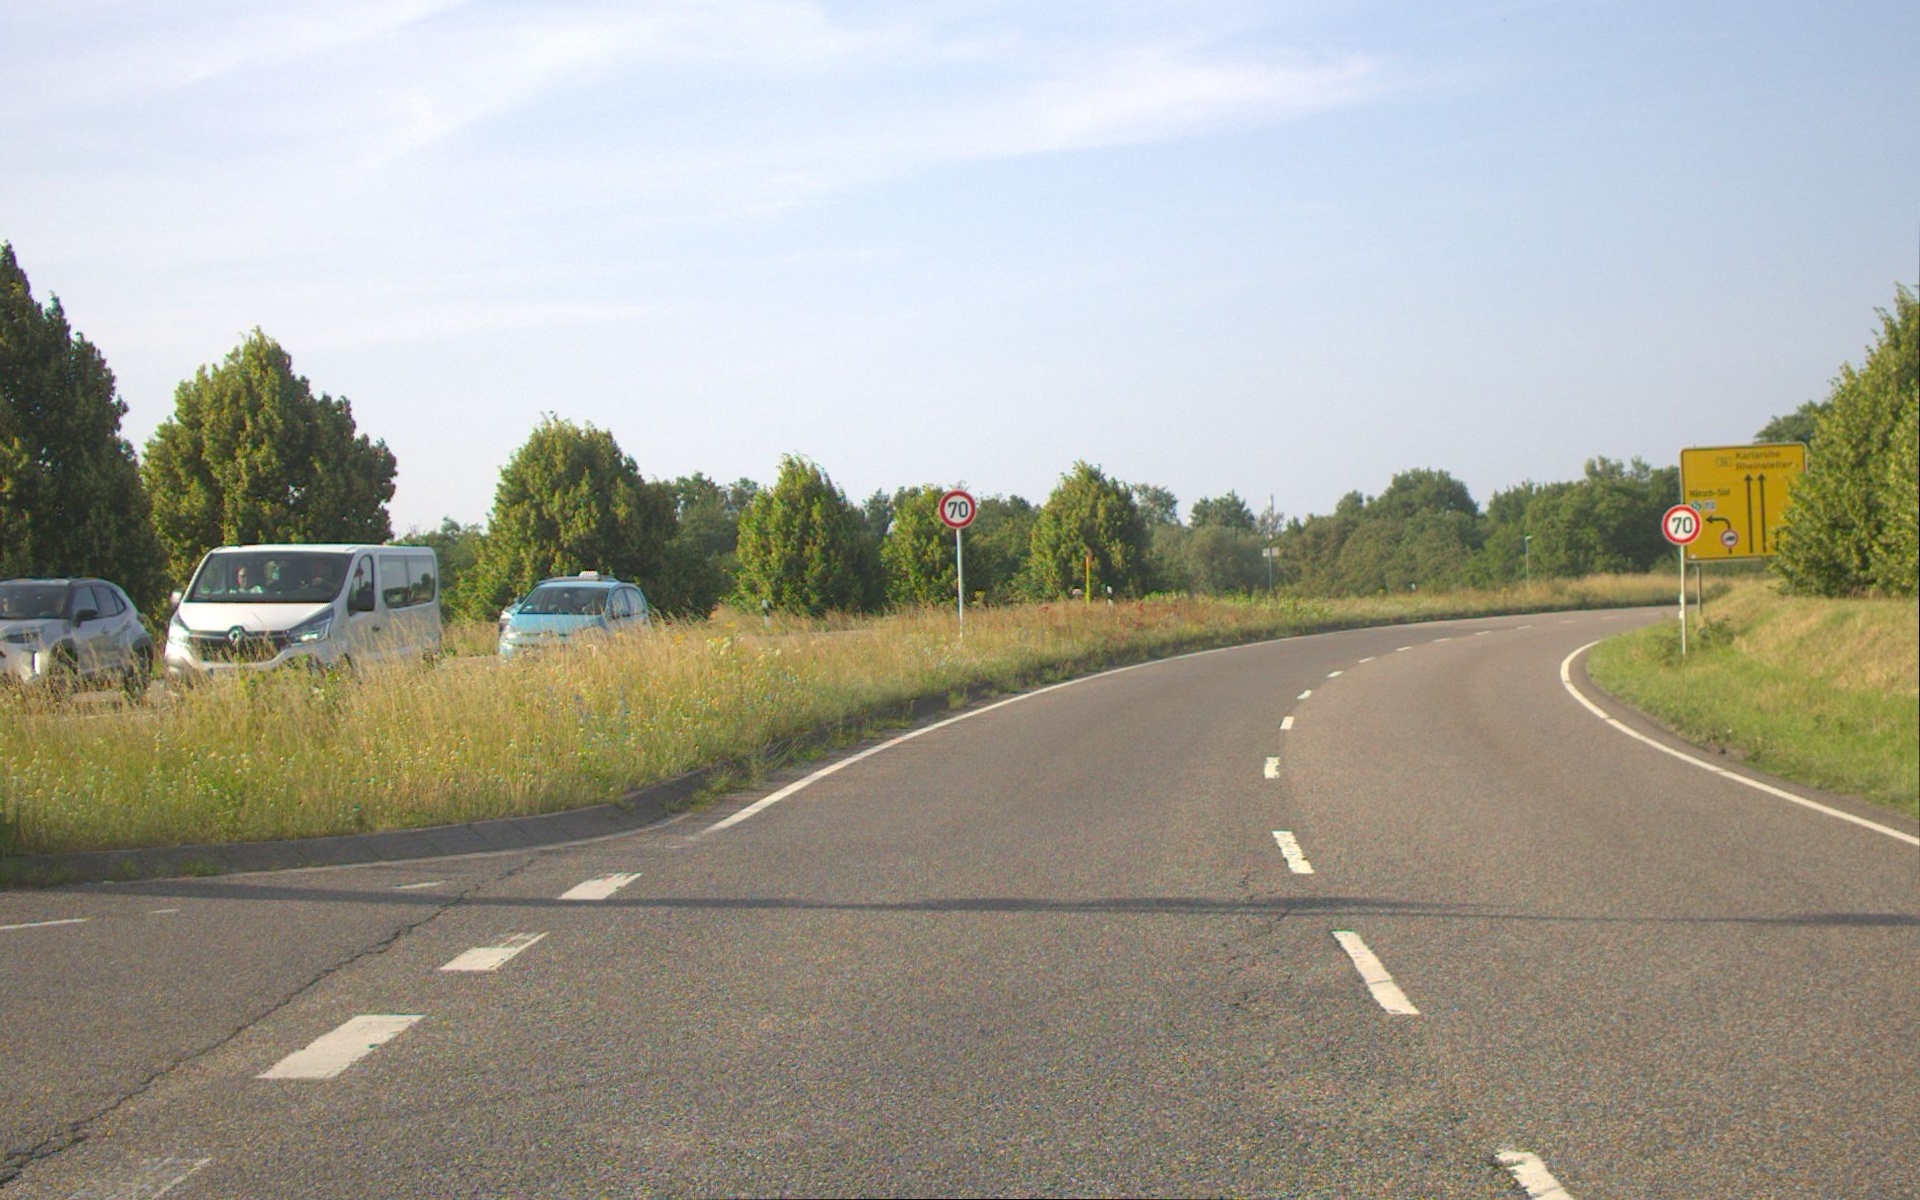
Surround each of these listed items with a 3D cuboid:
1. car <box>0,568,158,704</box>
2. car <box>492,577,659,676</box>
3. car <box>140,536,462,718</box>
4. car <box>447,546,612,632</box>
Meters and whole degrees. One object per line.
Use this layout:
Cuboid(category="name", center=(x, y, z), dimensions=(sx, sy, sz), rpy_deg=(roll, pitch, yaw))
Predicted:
Cuboid(category="car", center=(-10.961, 0.396, 40.633), dimensions=(1.706, 1.520, 4.134), rpy_deg=(0, 0, 5))
Cuboid(category="car", center=(-5.768, 0.376, 51.976), dimensions=(1.679, 1.438, 3.751), rpy_deg=(0, 0, 7))
Cuboid(category="car", center=(-7.307, 0.270, 38.776), dimensions=(1.994, 1.897, 5.787), rpy_deg=(0, 0, 6))
Cuboid(category="car", center=(-8.064, -0.218, 64.829), dimensions=(1.913, 1.560, 4.609), rpy_deg=(0, 0, 8))
